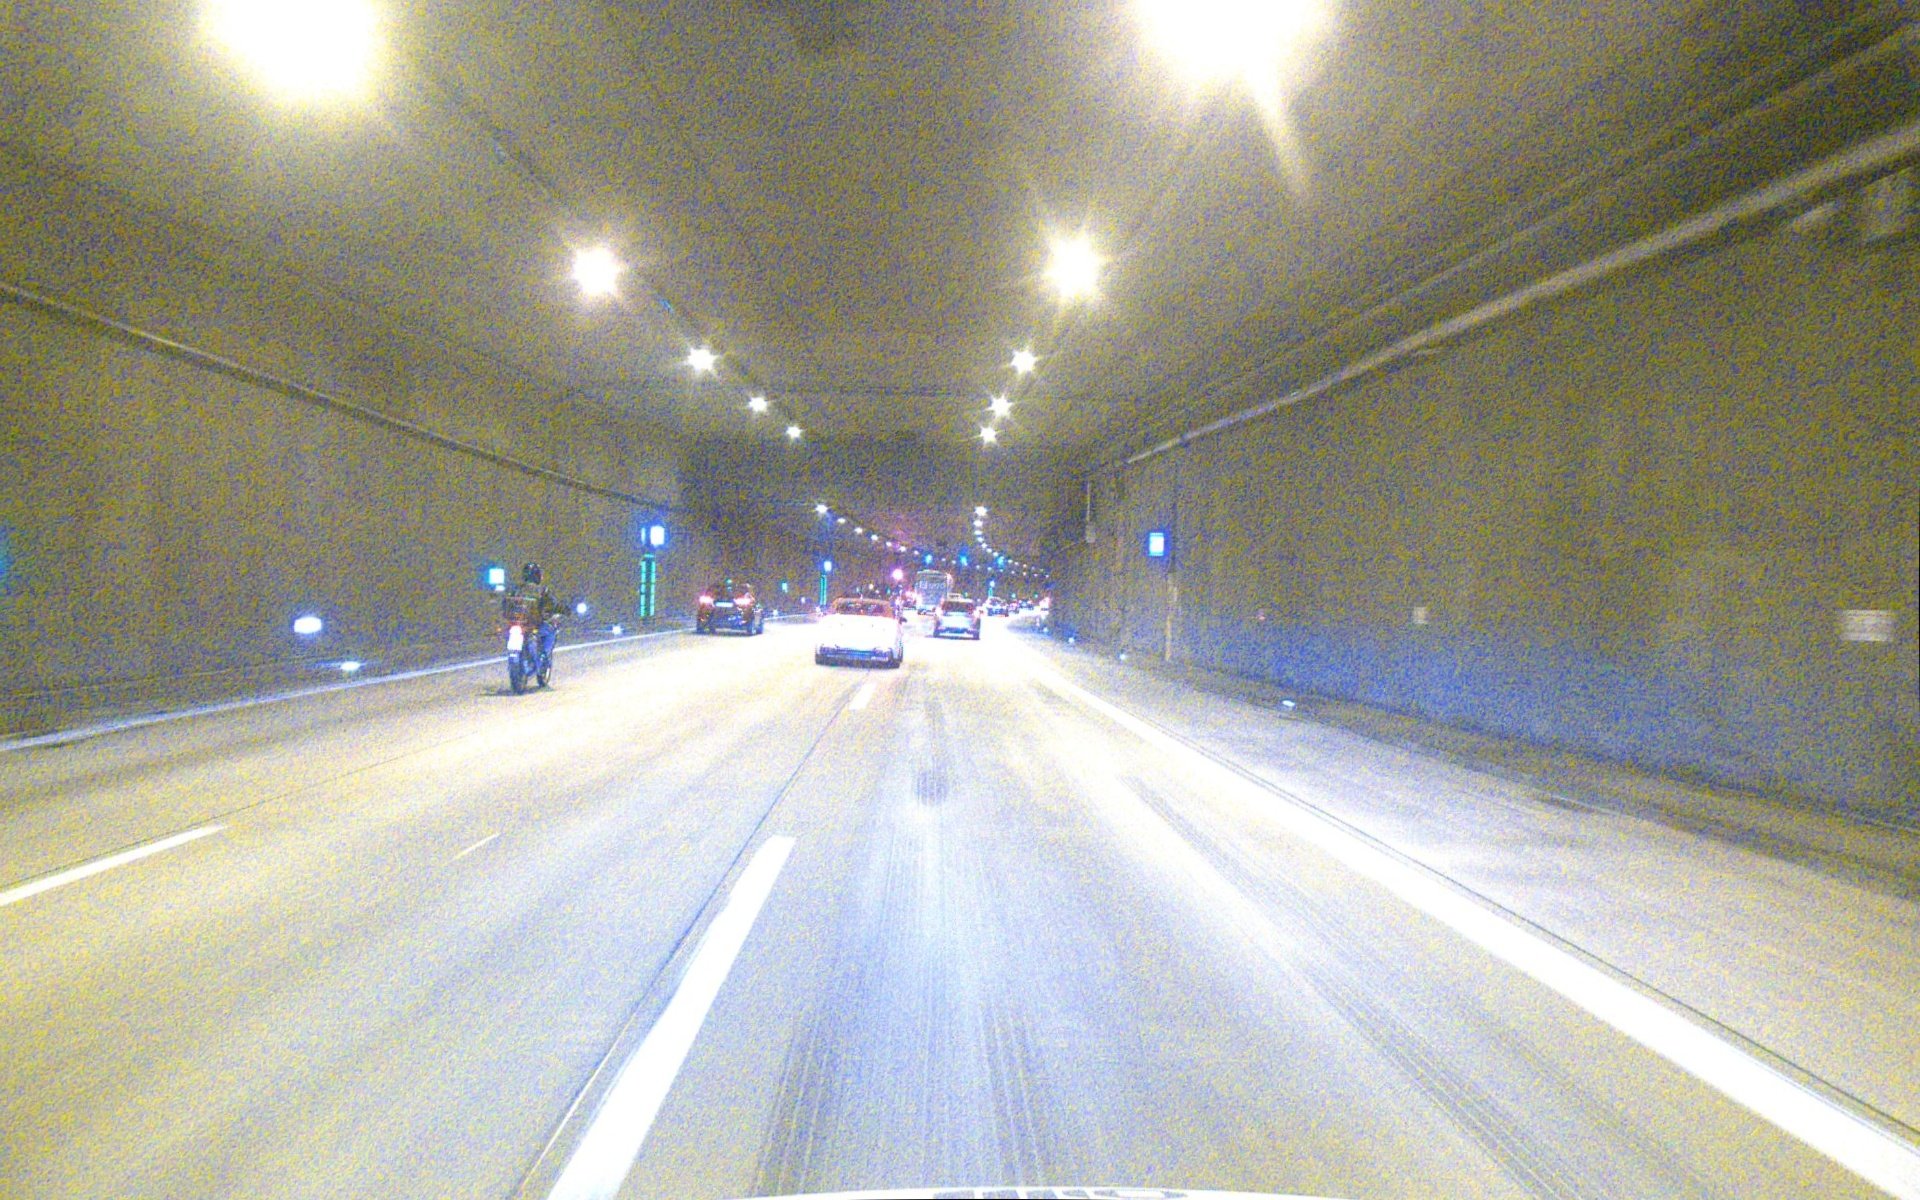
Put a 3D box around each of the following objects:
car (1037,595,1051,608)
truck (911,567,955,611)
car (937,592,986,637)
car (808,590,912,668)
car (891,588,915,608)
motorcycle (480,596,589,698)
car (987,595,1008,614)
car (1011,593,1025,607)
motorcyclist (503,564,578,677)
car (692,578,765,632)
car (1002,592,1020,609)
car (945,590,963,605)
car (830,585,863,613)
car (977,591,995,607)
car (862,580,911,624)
[{"bbox_3d":[10.857,0.209,214.783,1.805,1.578,4.001,1,0,3],"label":"car"},{"bbox_3d":[-2.002,-0.880,126.373,3.019,3.167,10.030,0,1,1],"label":"truck"},{"bbox_3d":[0.026,0.517,62.966,1.802,1.630,3.999,1,0,-1],"label":"car"},{"bbox_3d":[-2.099,0.597,35.725,1.953,1.509,4.000,2,0,0],"label":"car"},{"bbox_3d":[-5.000,-0.187,145.367,1.805,1.632,4.001,1,0,1],"label":"car"},{"bbox_3d":[-5.806,0.609,22.726,0.828,1.267,2.604,-1,1,-1],"label":"motorcycle"},{"bbox_3d":[3.239,0.350,142.820,1.805,1.595,4.001,1,0,1],"label":"car"},{"bbox_3d":[7.611,-0.005,217.851,1.795,1.720,4.002,1,0,3],"label":"car"},{"bbox_3d":[-5.793,0.277,22.892,0.822,1.503,0.821,-1,0,-2],"label":"motorcyclist"},{"bbox_3d":[-7.210,0.136,51.793,1.749,1.626,3.801,1,0,0],"label":"car"},{"bbox_3d":[5.280,0.048,171.432,1.820,1.695,4.000,1,0,0],"label":"car"},{"bbox_3d":[-0.630,-0.274,179.665,1.792,1.646,4.002,1,0,3],"label":"car"},{"bbox_3d":[-7.129,-0.045,104.238,1.763,1.713,4.000,-1,0,1],"label":"car"},{"bbox_3d":[2.975,-0.088,187.868,1.952,1.785,4.000,0,0,0],"label":"car"},{"bbox_3d":[-3.356,0.098,76.186,1.952,2.006,4.000,0,0,1],"label":"car"}]
